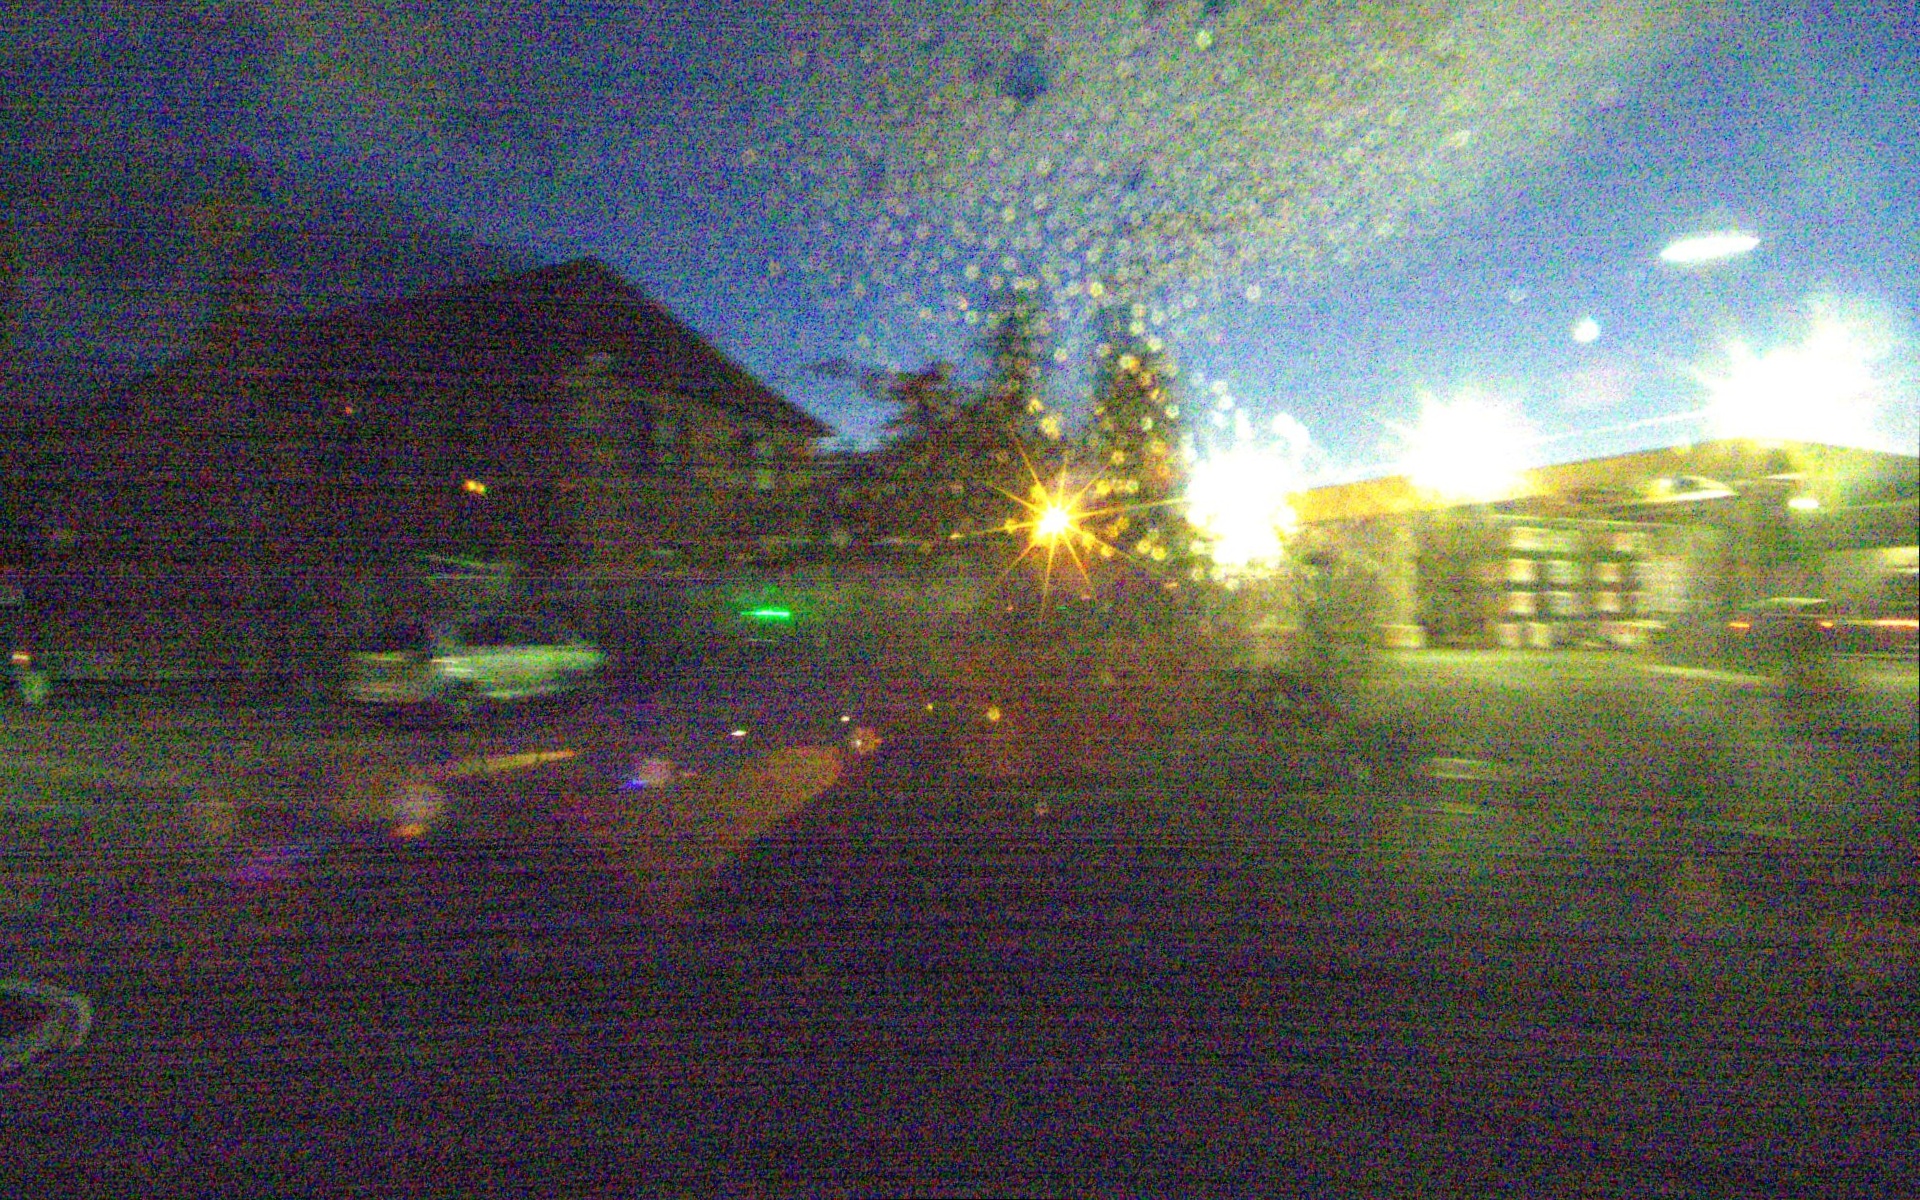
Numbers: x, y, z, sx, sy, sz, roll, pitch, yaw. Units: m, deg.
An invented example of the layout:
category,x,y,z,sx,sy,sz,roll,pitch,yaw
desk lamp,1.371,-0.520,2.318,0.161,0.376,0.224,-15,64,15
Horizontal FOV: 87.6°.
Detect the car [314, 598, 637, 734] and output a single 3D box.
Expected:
category,x,y,z,sx,sy,sz,roll,pitch,yaw
car,-7.225,0.877,15.492,1.860,1.669,4.326,0,2,22
